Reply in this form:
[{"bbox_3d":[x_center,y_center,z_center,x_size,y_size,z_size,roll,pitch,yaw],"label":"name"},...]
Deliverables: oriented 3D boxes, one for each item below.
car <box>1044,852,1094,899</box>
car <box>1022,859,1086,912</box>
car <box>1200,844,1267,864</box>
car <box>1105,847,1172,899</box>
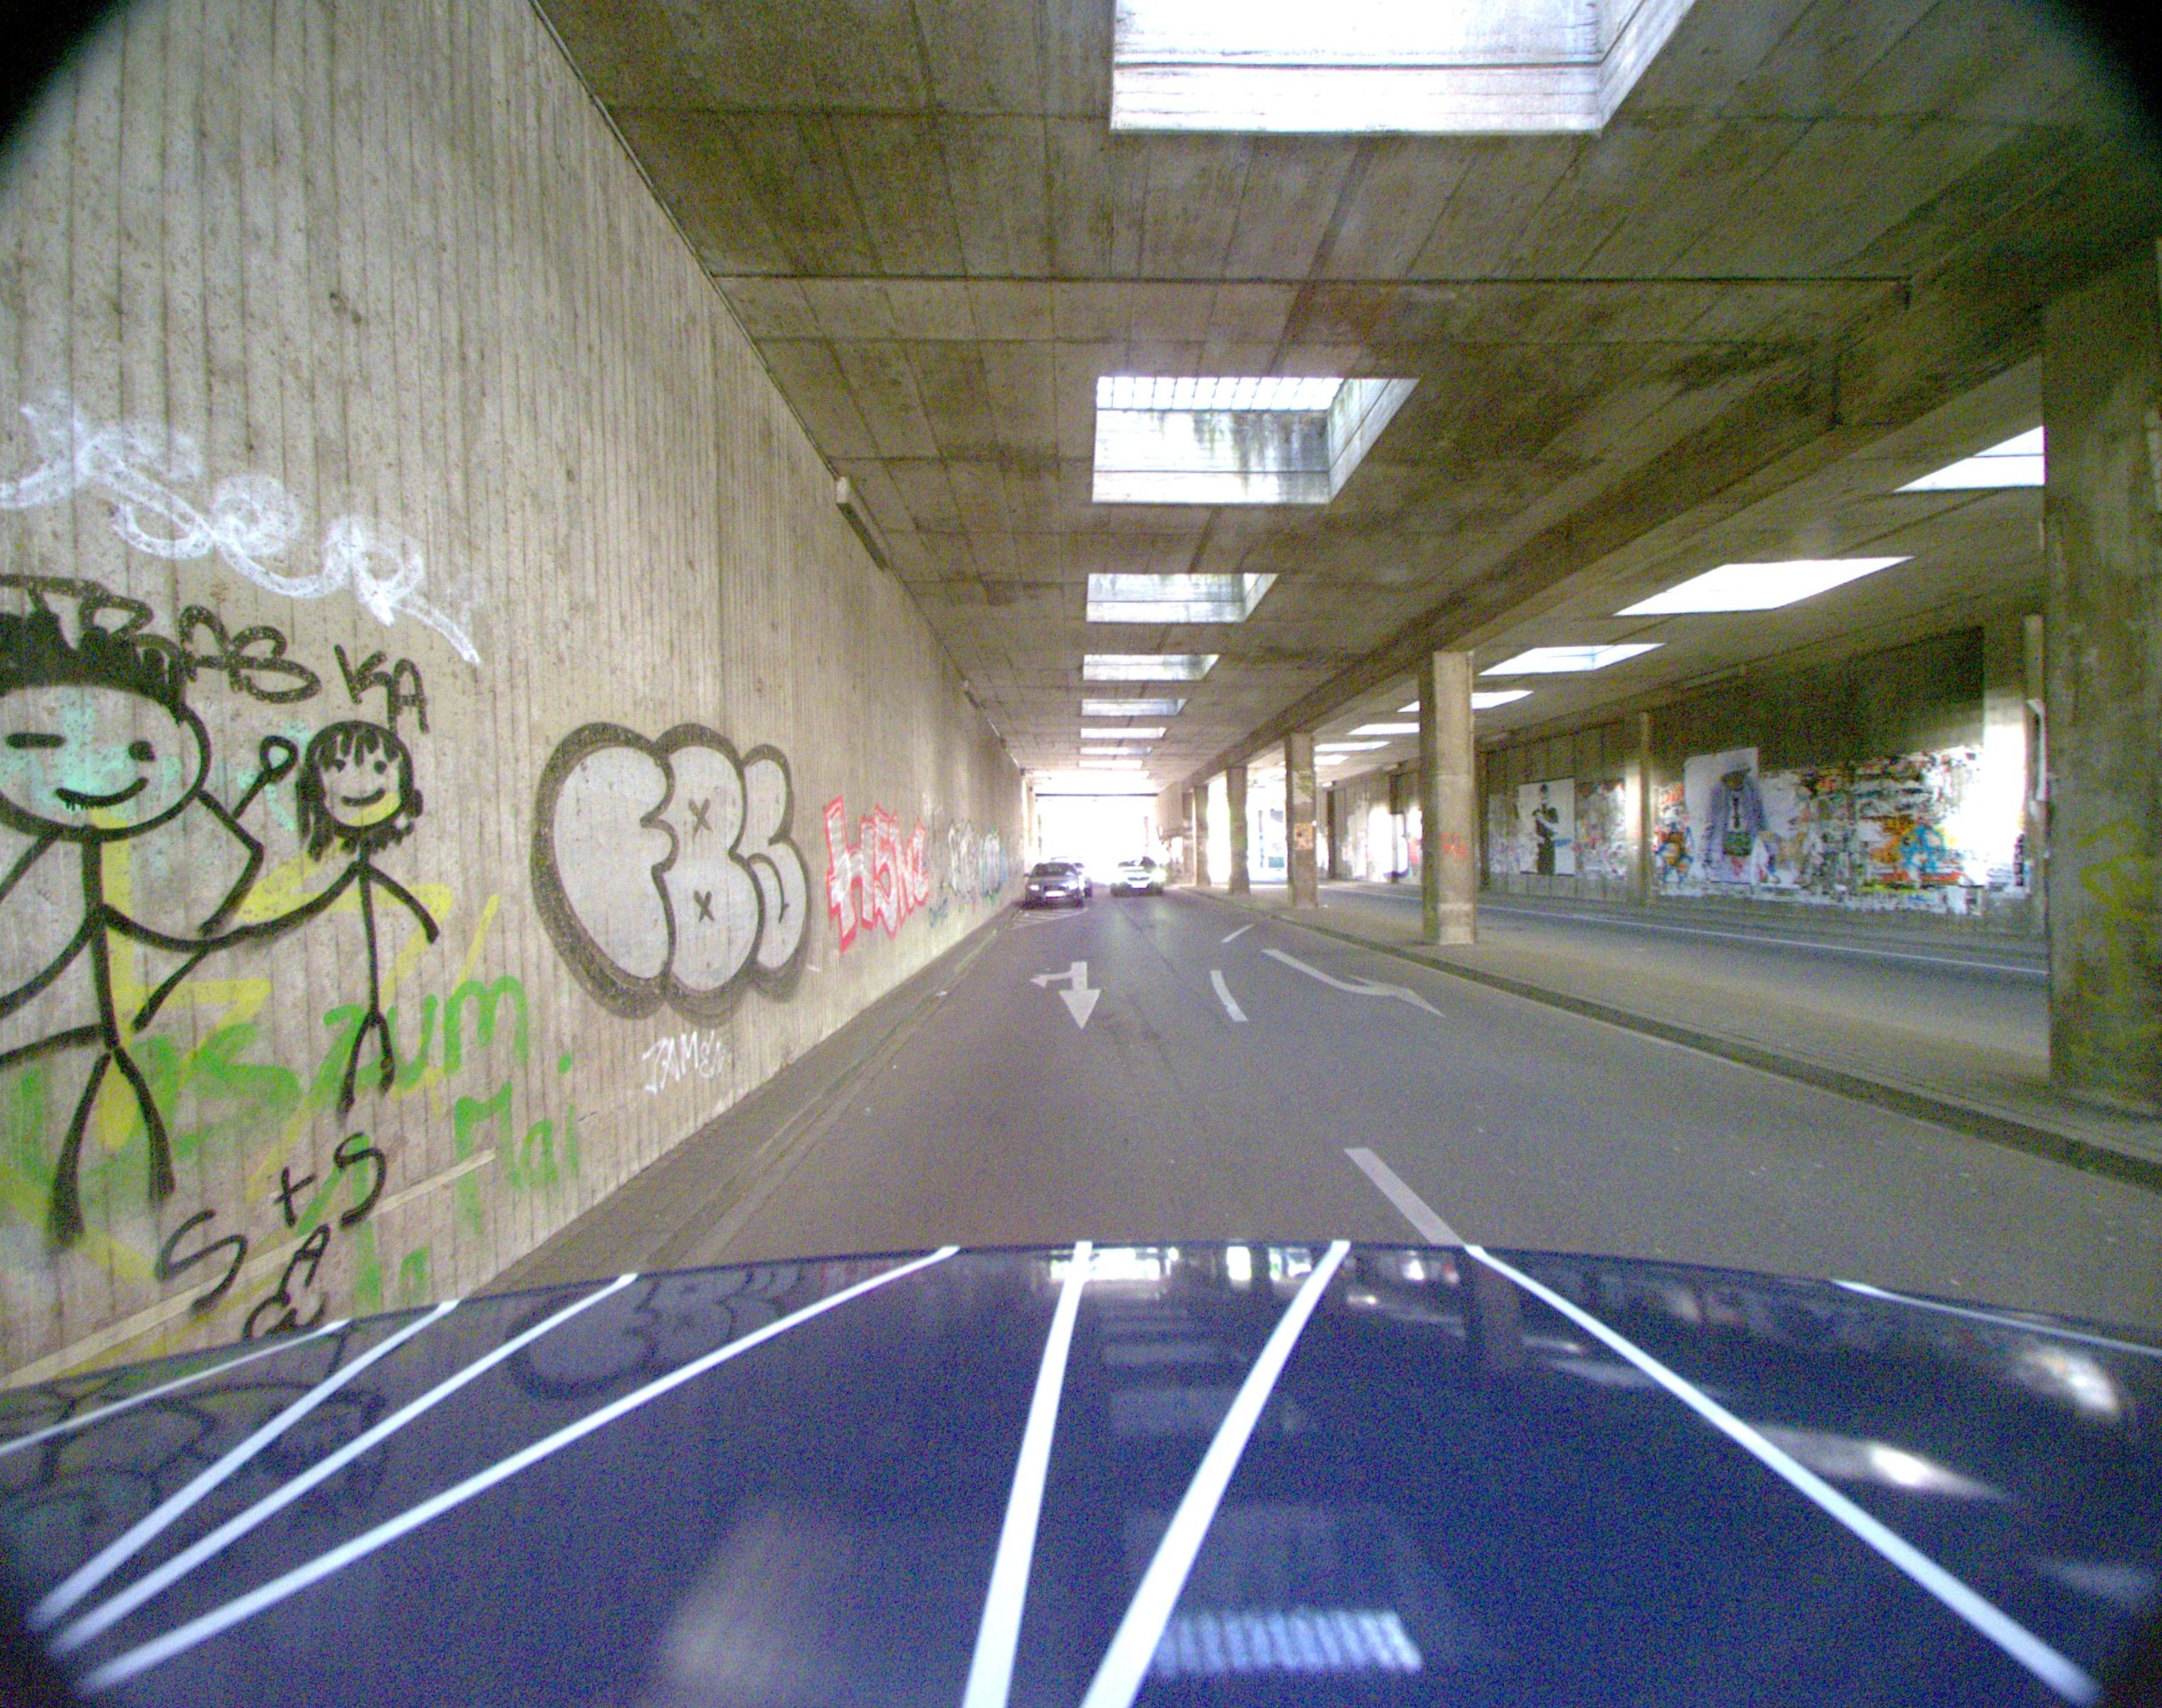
[{"bbox_3d":[-0.496,0.777,29.870,1.767,1.634,3.999,-2,1,-2],"label":"car"},{"bbox_3d":[-0.766,0.921,23.983,1.767,1.407,3.999,-2,1,1],"label":"car"},{"bbox_3d":[15.851,-0.010,79.249,6.536,1.740,2.000,-2,1,1],"label":"car"},{"bbox_3d":[2.112,0.645,29.239,1.999,1.740,4.858,-2,1,-2],"label":"car"}]
